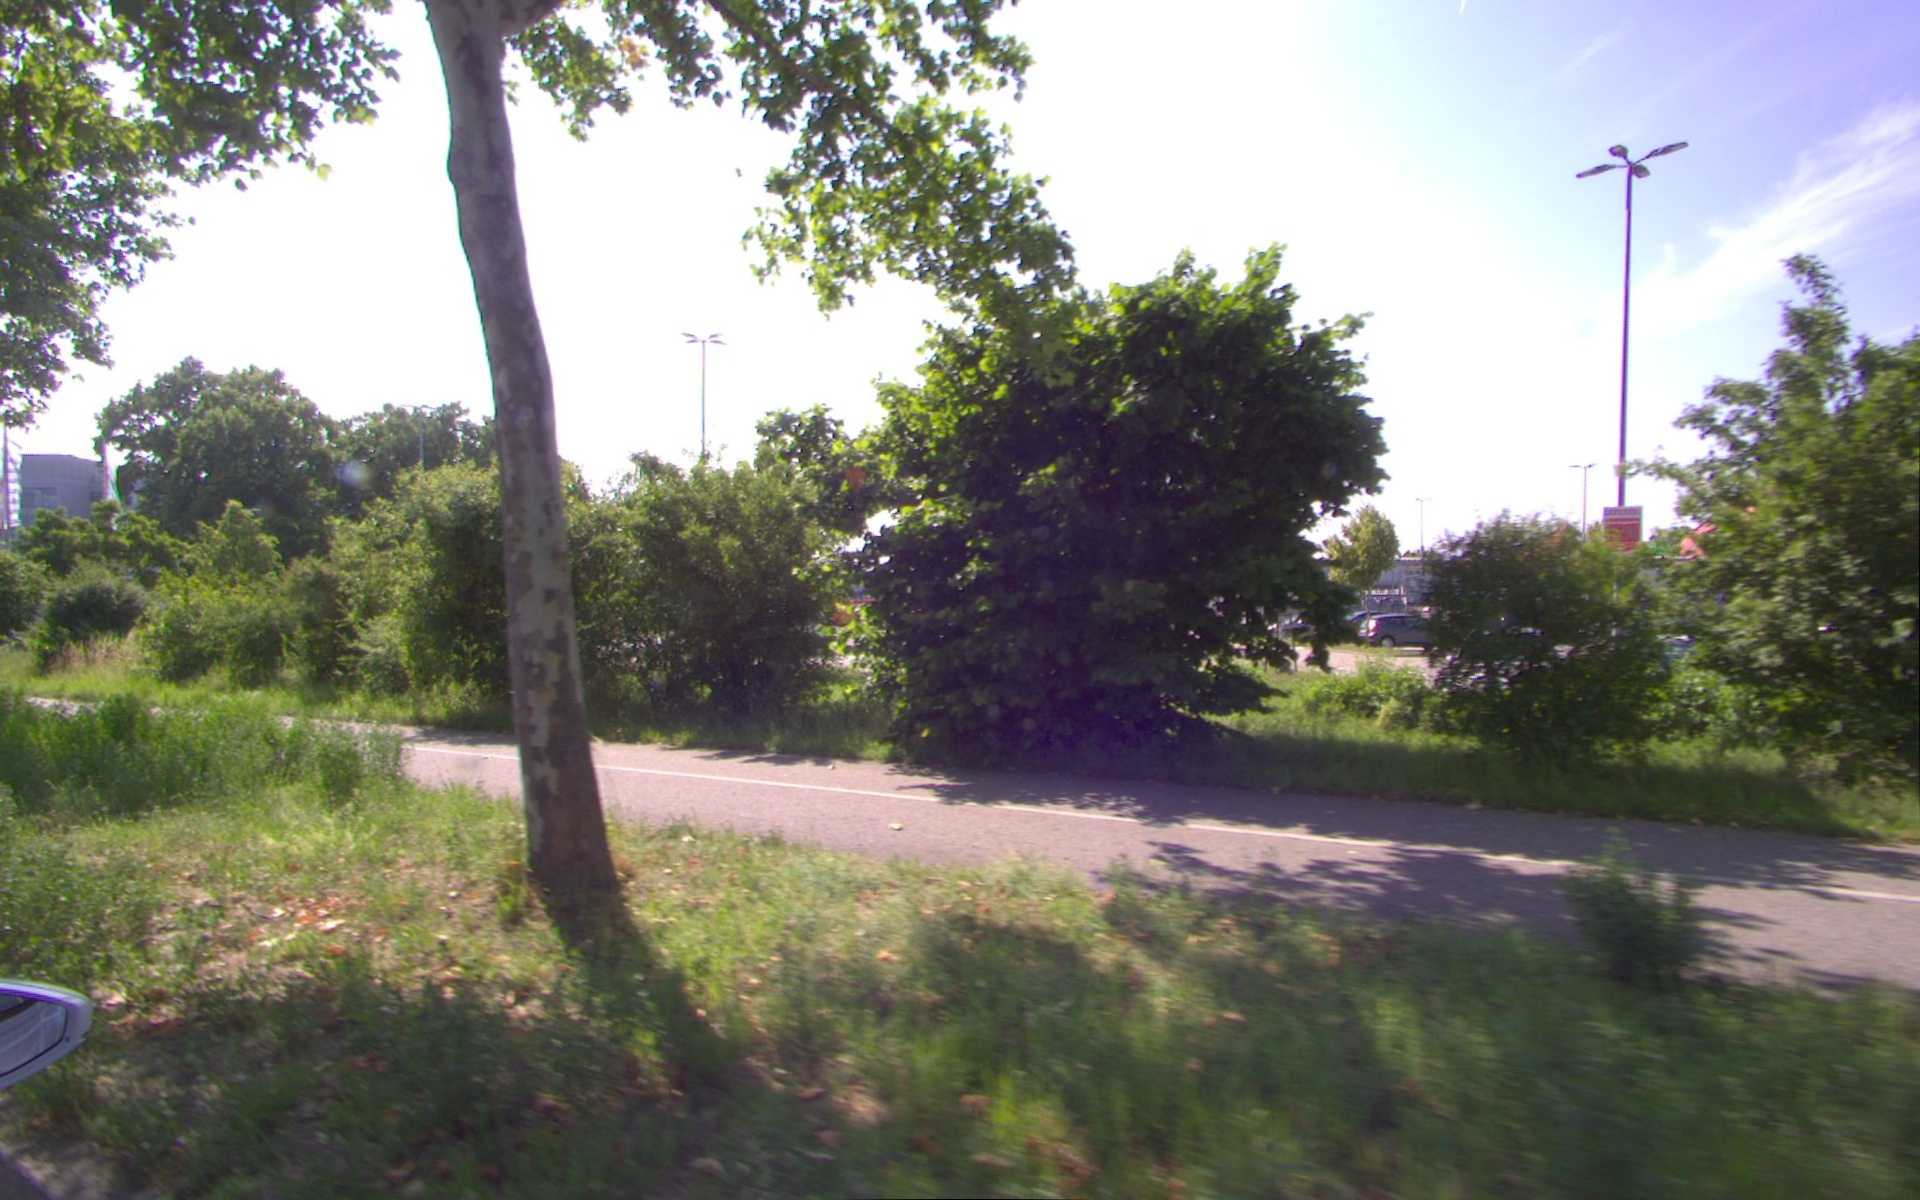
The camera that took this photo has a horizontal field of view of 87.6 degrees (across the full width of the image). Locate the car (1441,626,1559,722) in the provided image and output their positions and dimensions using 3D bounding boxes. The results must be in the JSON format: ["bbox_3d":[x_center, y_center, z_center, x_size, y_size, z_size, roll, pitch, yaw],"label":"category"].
[{"bbox_3d":[9.214,1.164,17.036,1.581,1.438,3.983,-1,-2,30],"label":"car"}]

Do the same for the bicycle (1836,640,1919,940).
[{"bbox_3d":[5.155,0.828,4.238,2.066,1.315,0.721,-1,-2,33],"label":"bicycle"}]
